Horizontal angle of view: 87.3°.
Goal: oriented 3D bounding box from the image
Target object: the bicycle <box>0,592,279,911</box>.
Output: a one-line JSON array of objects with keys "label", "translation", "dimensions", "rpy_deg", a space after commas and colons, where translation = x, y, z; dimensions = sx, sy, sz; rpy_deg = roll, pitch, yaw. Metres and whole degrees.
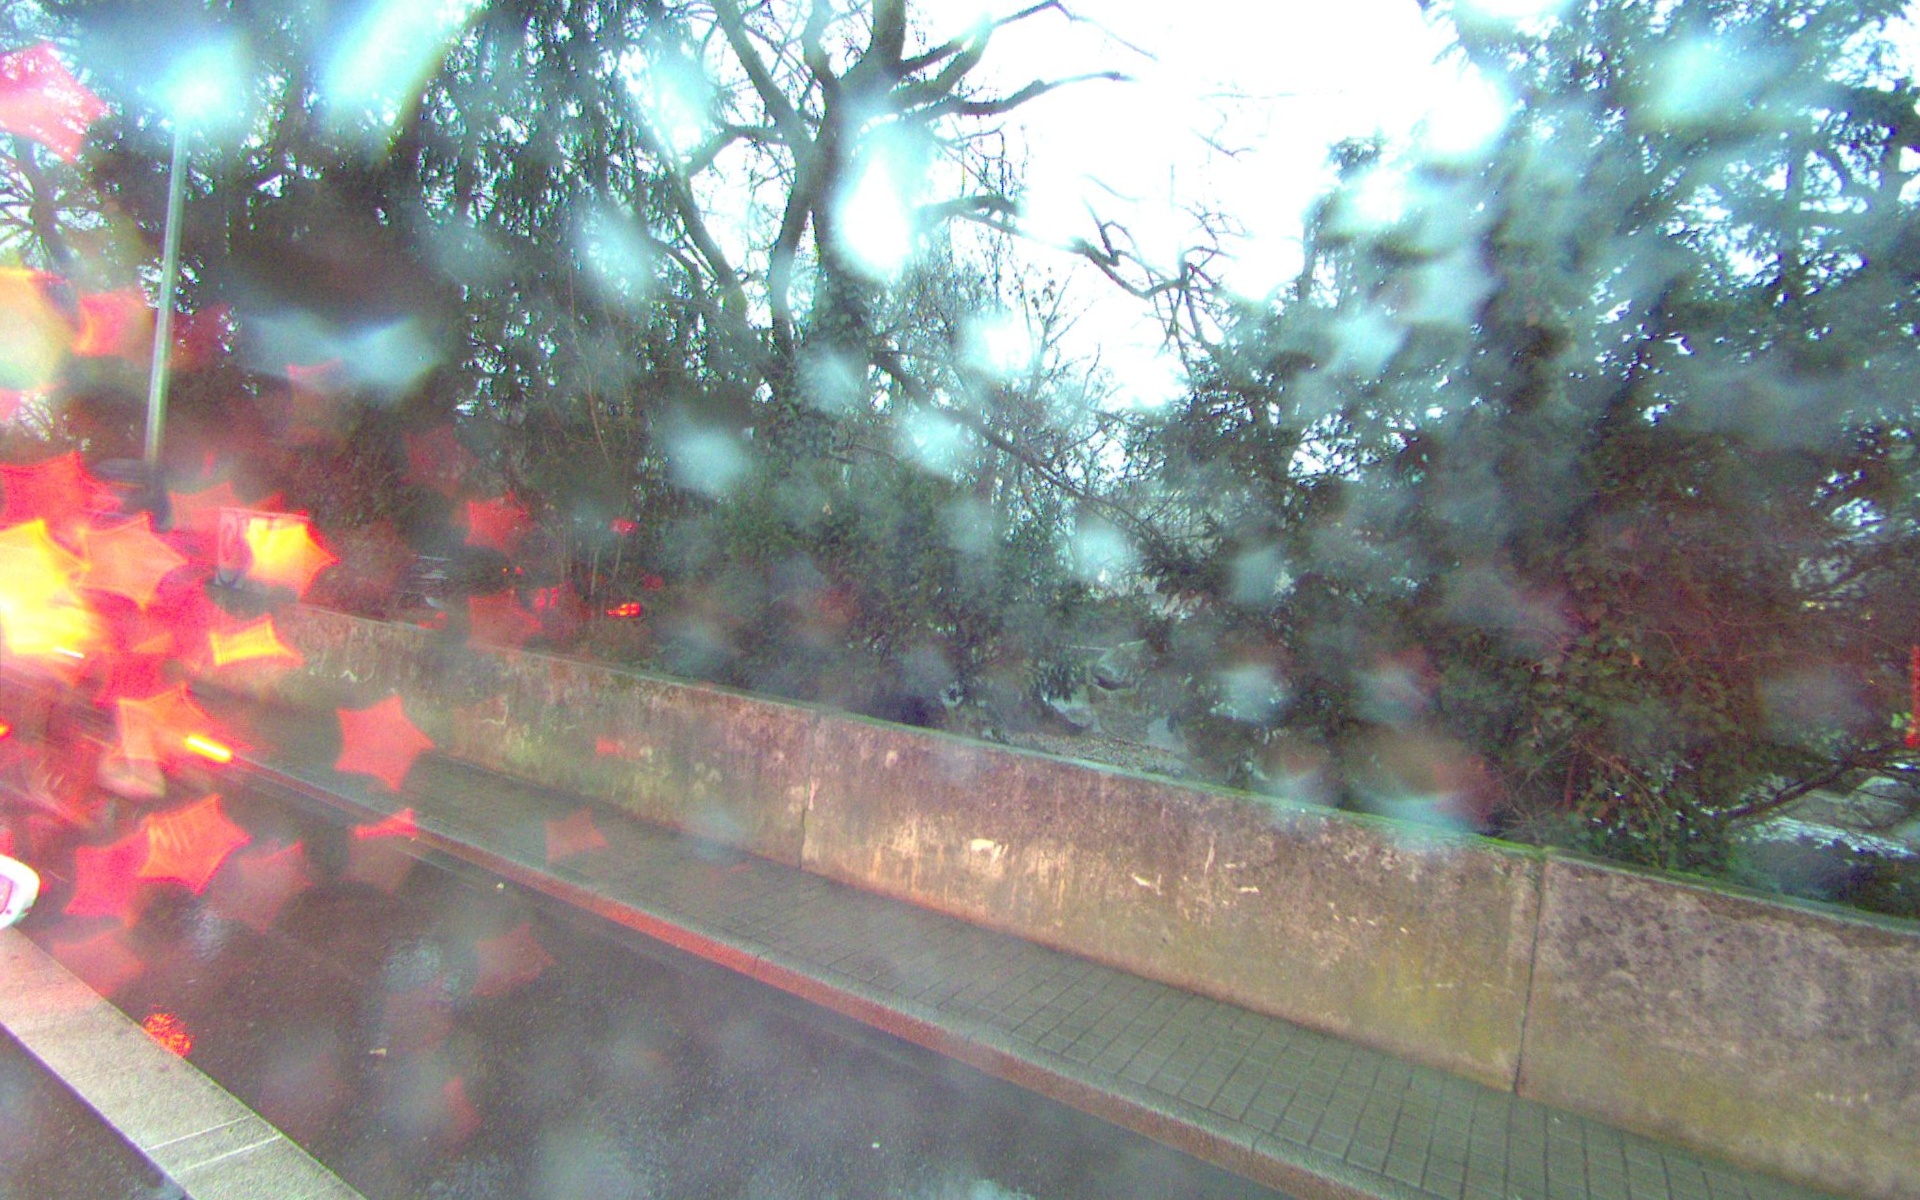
[{"label": "bicycle", "translation": [-3.852, 0.553, 4.434], "dimensions": [2.014, 0.979, 0.645], "rpy_deg": [7, 1, 34]}]

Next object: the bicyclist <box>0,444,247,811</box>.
[{"label": "bicyclist", "translation": [-3.716, 0.091, 4.370], "dimensions": [0.876, 1.406, 0.645], "rpy_deg": [7, 1, 34]}]
